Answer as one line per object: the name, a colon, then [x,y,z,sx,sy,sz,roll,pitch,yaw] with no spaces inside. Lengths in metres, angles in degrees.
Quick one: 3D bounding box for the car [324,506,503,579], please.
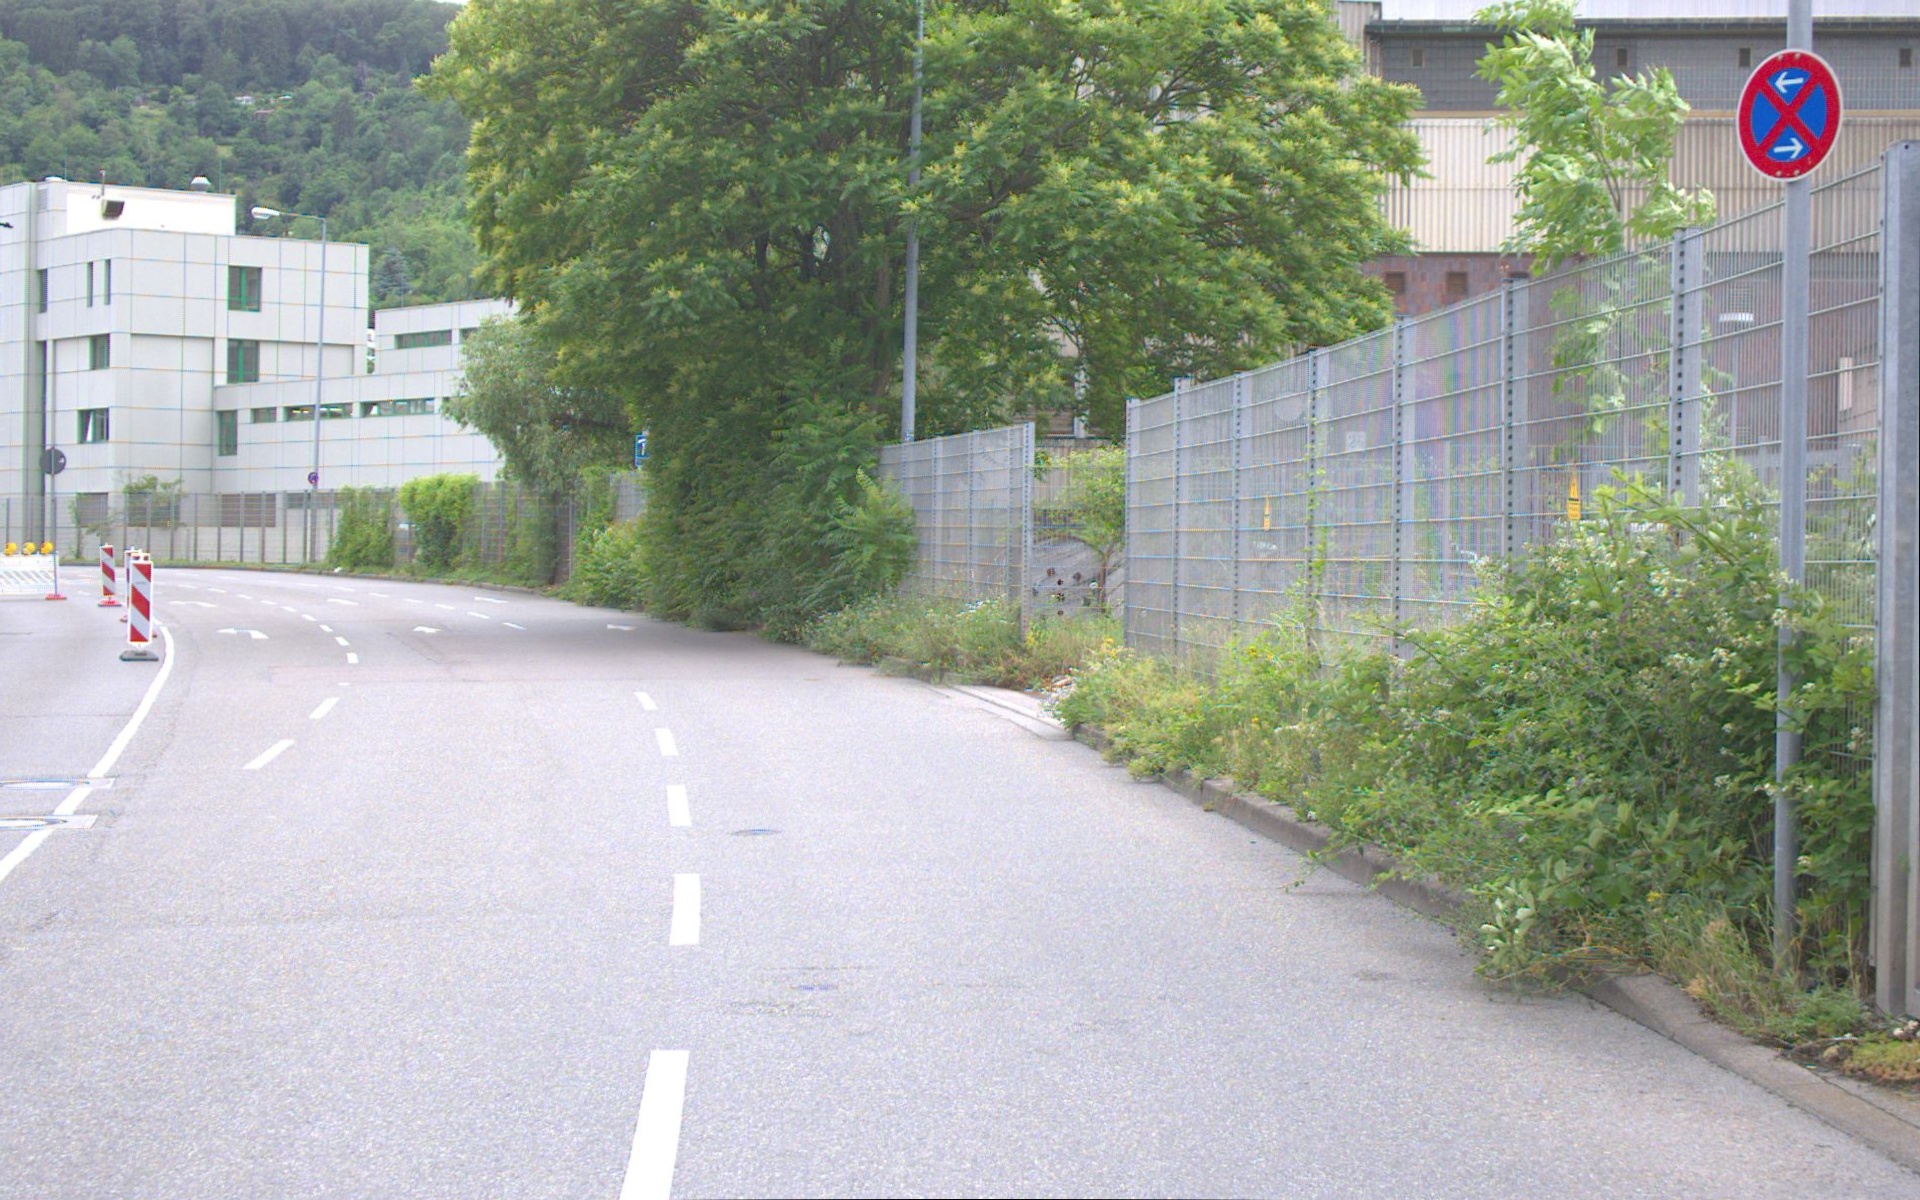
car: [-18.429,-1.943,115.873,6.162,2.255,1.996,3,1,33]
